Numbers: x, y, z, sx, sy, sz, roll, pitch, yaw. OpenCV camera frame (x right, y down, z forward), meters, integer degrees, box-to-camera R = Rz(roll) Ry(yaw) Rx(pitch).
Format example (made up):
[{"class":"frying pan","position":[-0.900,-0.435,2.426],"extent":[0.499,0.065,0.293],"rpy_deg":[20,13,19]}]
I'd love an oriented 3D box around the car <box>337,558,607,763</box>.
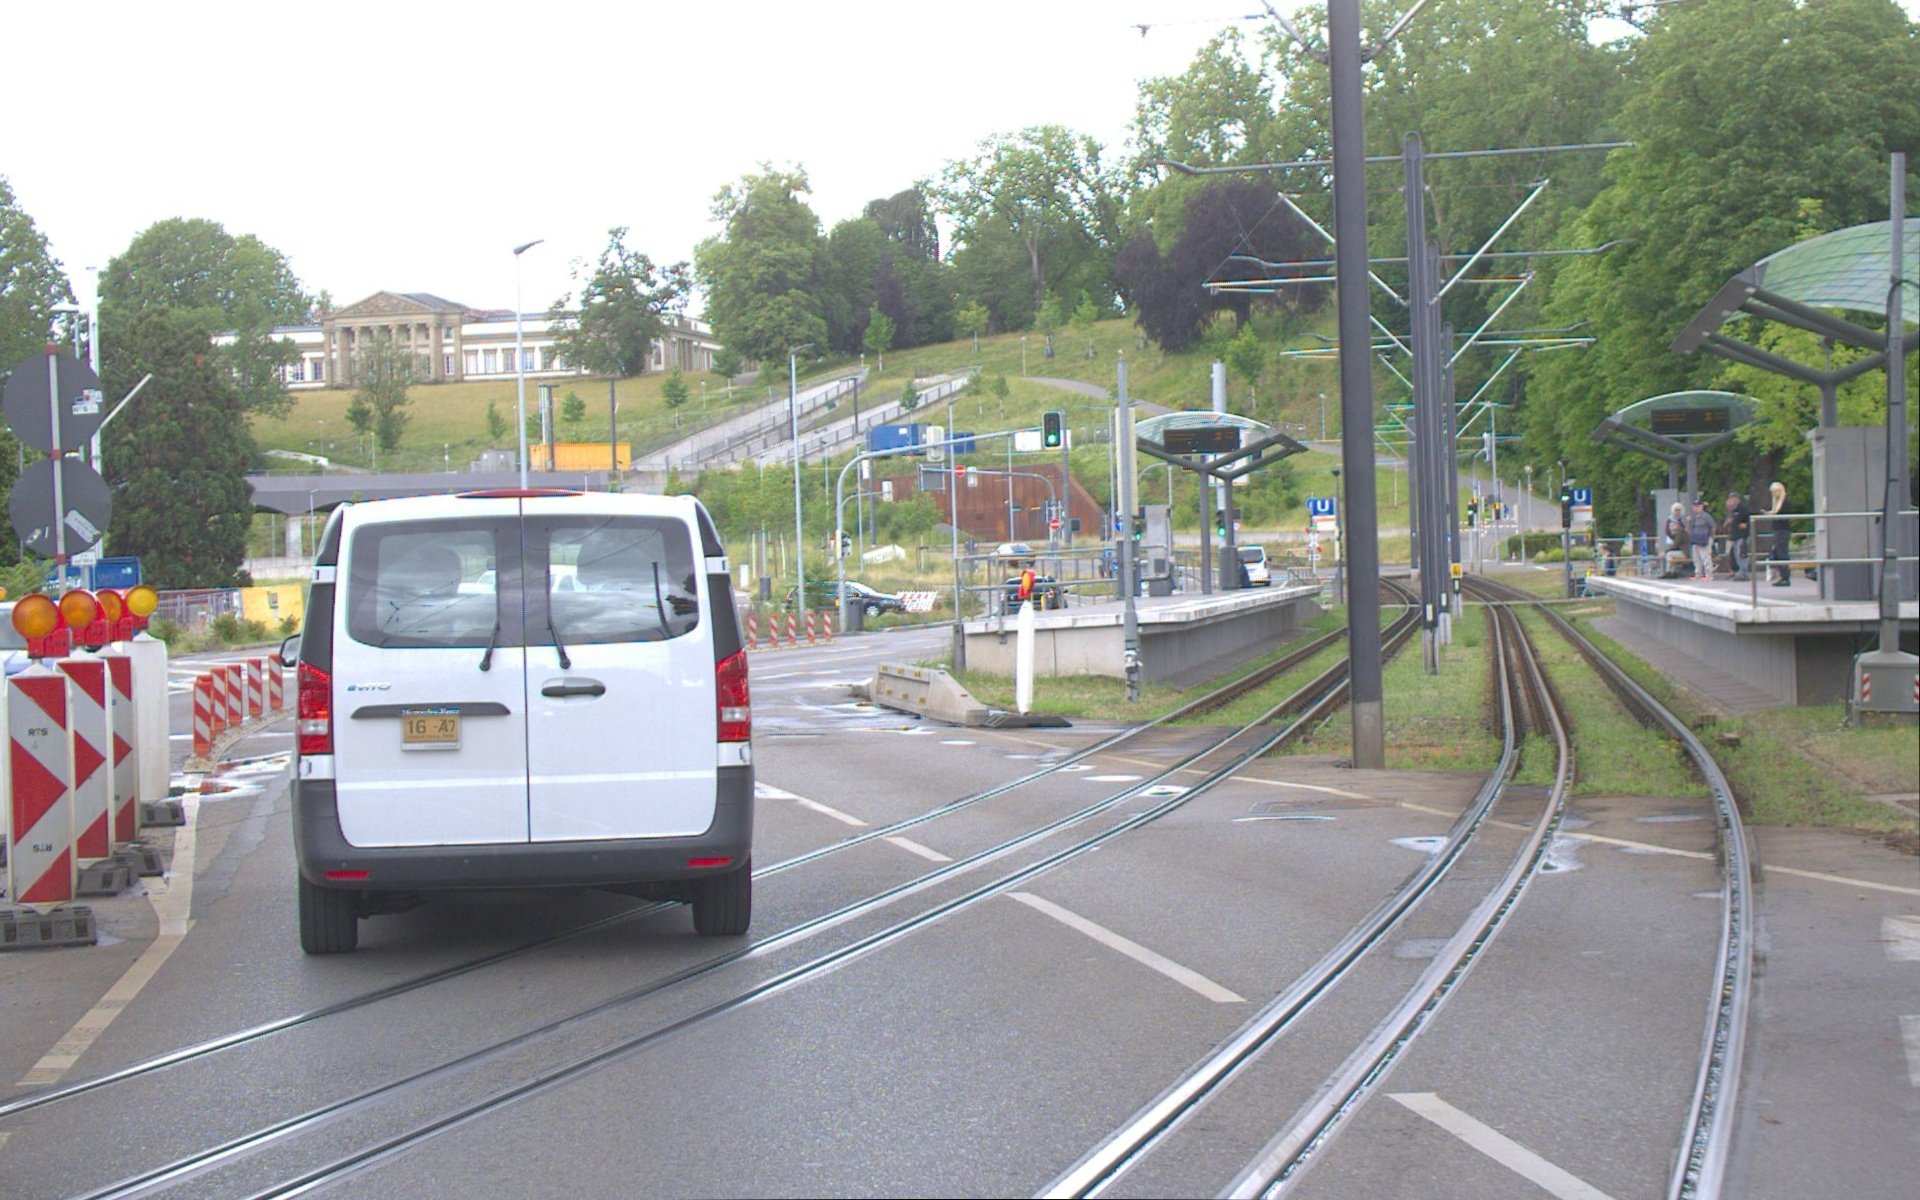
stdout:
[{"class":"car","position":[-4.370,0.522,31.343],"extent":[1.838,1.723,4.062],"rpy_deg":[-1,0,0]}]

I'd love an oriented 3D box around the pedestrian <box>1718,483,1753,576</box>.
[{"class":"pedestrian","position":[15.605,-1.413,69.171],"extent":[0.633,1.832,0.950],"rpy_deg":[0,0,10]}]

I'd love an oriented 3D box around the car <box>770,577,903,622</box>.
[{"class":"car","position":[-4.823,-0.022,133.955],"extent":[4.713,1.472,1.998],"rpy_deg":[-3,1,19]}]

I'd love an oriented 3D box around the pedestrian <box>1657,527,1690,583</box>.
[{"class":"pedestrian","position":[15.319,-0.958,73.829],"extent":[0.657,1.187,0.675],"rpy_deg":[0,0,10]}]

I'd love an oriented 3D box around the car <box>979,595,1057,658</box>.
[{"class":"car","position":[1.681,0.751,98.478],"extent":[1.994,1.766,3.999],"rpy_deg":[0,0,4]}]

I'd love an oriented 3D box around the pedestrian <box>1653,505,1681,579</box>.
[{"class":"pedestrian","position":[15.953,-1.303,77.541],"extent":[0.544,1.671,0.675],"rpy_deg":[0,0,6]}]

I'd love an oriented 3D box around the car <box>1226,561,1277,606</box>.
[{"class":"car","position":[13.527,-0.739,159.859],"extent":[2.201,2.007,5.150],"rpy_deg":[-1,0,4]}]

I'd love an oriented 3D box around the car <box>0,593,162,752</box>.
[{"class":"car","position":[-9.585,0.726,35.360],"extent":[1.695,1.456,3.913],"rpy_deg":[-3,1,1]}]

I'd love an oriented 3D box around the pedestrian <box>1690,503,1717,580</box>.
[{"class":"pedestrian","position":[15.582,-1.220,72.020],"extent":[0.524,1.614,0.675],"rpy_deg":[0,0,10]}]

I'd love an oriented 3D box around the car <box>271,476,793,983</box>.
[{"class":"car","position":[-2.013,0.493,15.386],"extent":[1.958,1.897,4.462],"rpy_deg":[-1,0,-10]}]

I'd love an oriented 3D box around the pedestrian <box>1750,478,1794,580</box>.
[{"class":"pedestrian","position":[13.555,-1.181,57.415],"extent":[0.633,1.681,0.866],"rpy_deg":[0,0,9]}]

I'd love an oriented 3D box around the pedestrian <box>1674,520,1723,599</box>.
[{"class":"pedestrian","position":[15.678,-0.862,72.962],"extent":[0.860,1.671,0.761],"rpy_deg":[0,0,-1]}]
